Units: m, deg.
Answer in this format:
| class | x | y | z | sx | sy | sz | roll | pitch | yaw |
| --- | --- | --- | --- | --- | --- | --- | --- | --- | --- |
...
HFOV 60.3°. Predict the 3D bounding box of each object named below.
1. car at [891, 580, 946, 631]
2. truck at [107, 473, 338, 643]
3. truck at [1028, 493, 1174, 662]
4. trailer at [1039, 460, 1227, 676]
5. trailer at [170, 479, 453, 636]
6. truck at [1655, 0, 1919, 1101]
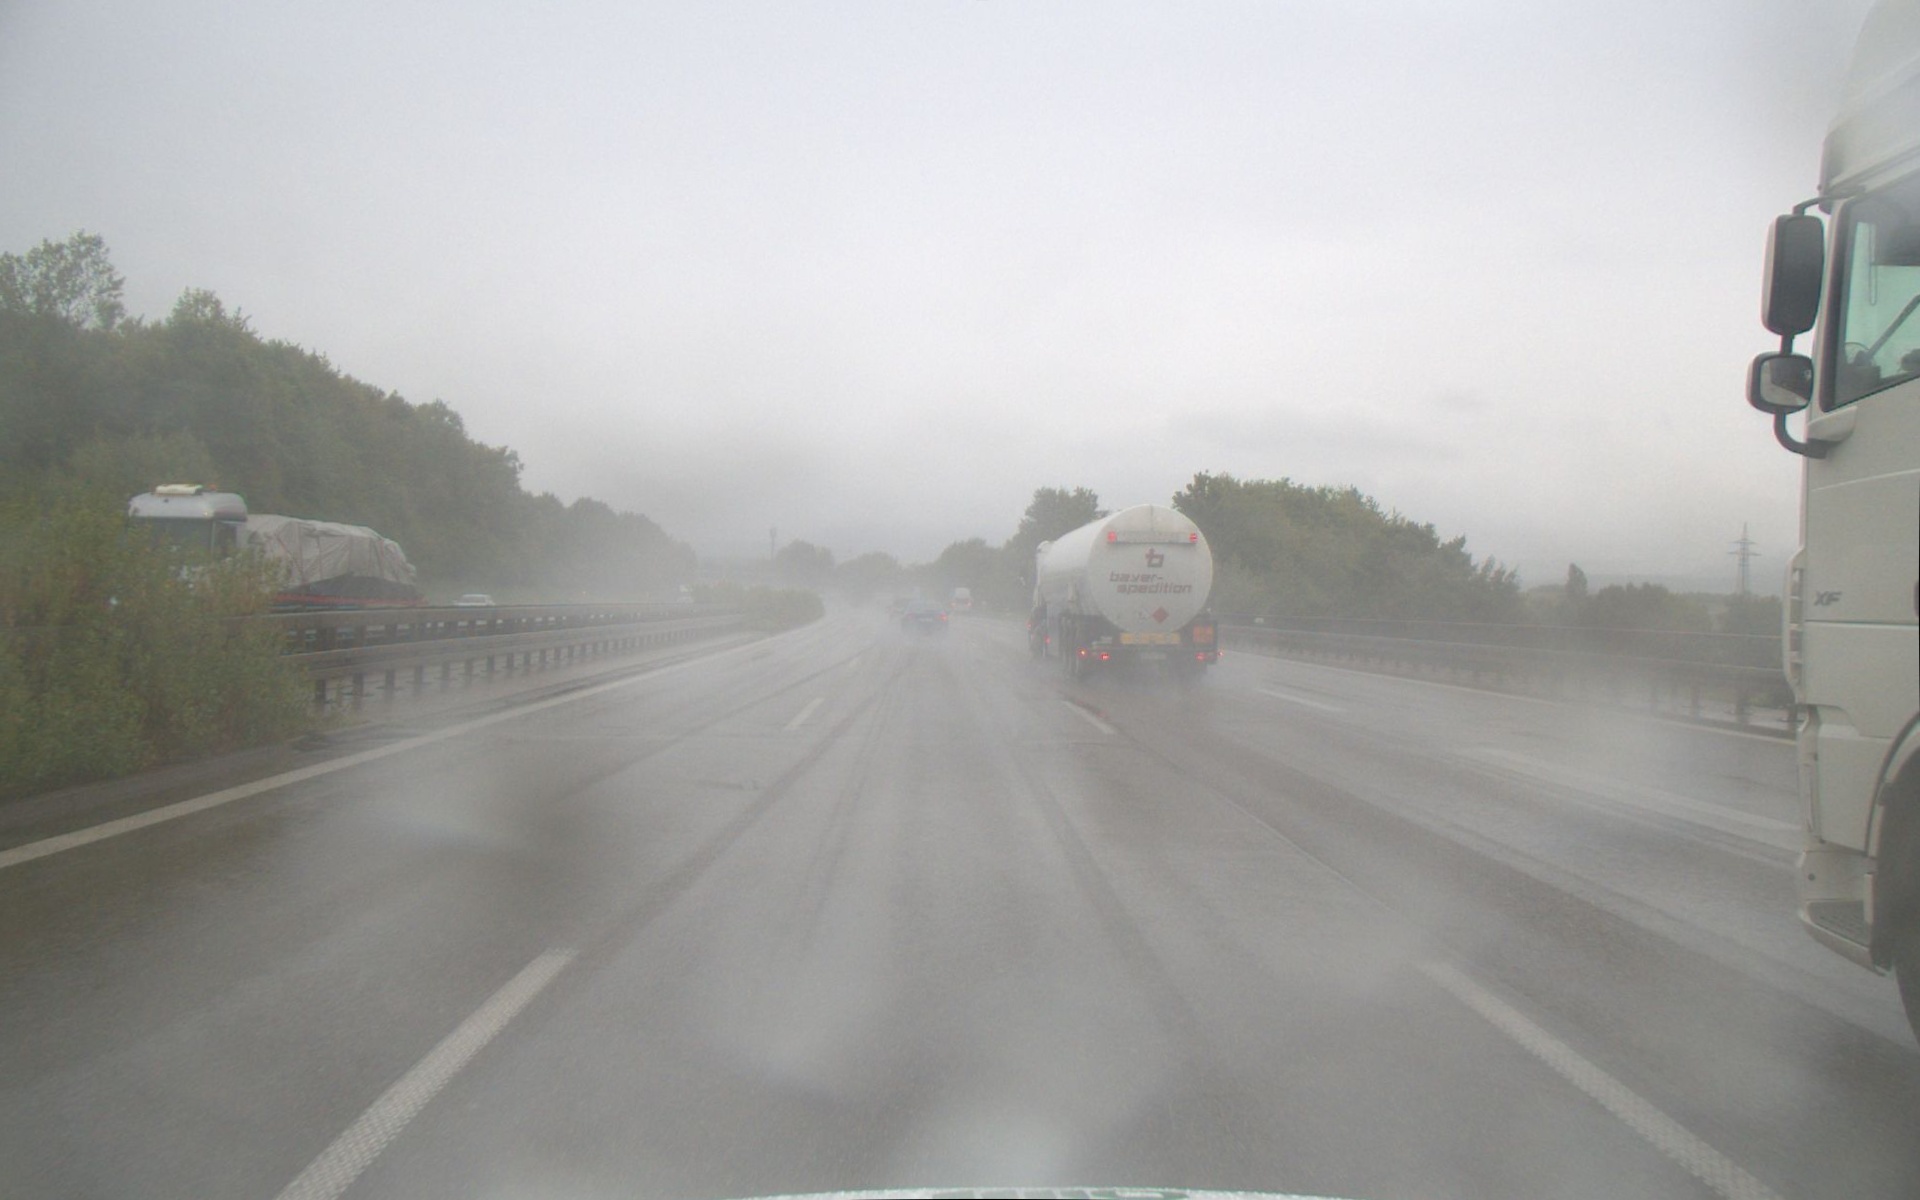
| class | x | y | z | sx | sy | sz | roll | pitch | yaw |
| --- | --- | --- | --- | --- | --- | --- | --- | --- | --- |
| car | -1.575 | 0.182 | 61.467 | 1.939 | 1.787 | 4.479 | 1 | 1 | -2 |
| truck | -17.287 | -0.944 | 39.268 | 2.922 | 3.662 | 5.997 | 1 | 0 | -2 |
| truck | 3.293 | -0.503 | 40.176 | 2.883 | 3.749 | 6.360 | 1 | 0 | -1 |
| trailer | 3.377 | -0.584 | 34.590 | 2.943 | 3.915 | 8.623 | 1 | 0 | 0 |
| trailer | -17.553 | -1.069 | 46.235 | 3.010 | 3.675 | 13.565 | 1 | 0 | -2 |
| truck | 4.448 | -0.429 | 3.087 | 3.042 | 3.873 | 7.209 | 1 | 0 | -2 |
